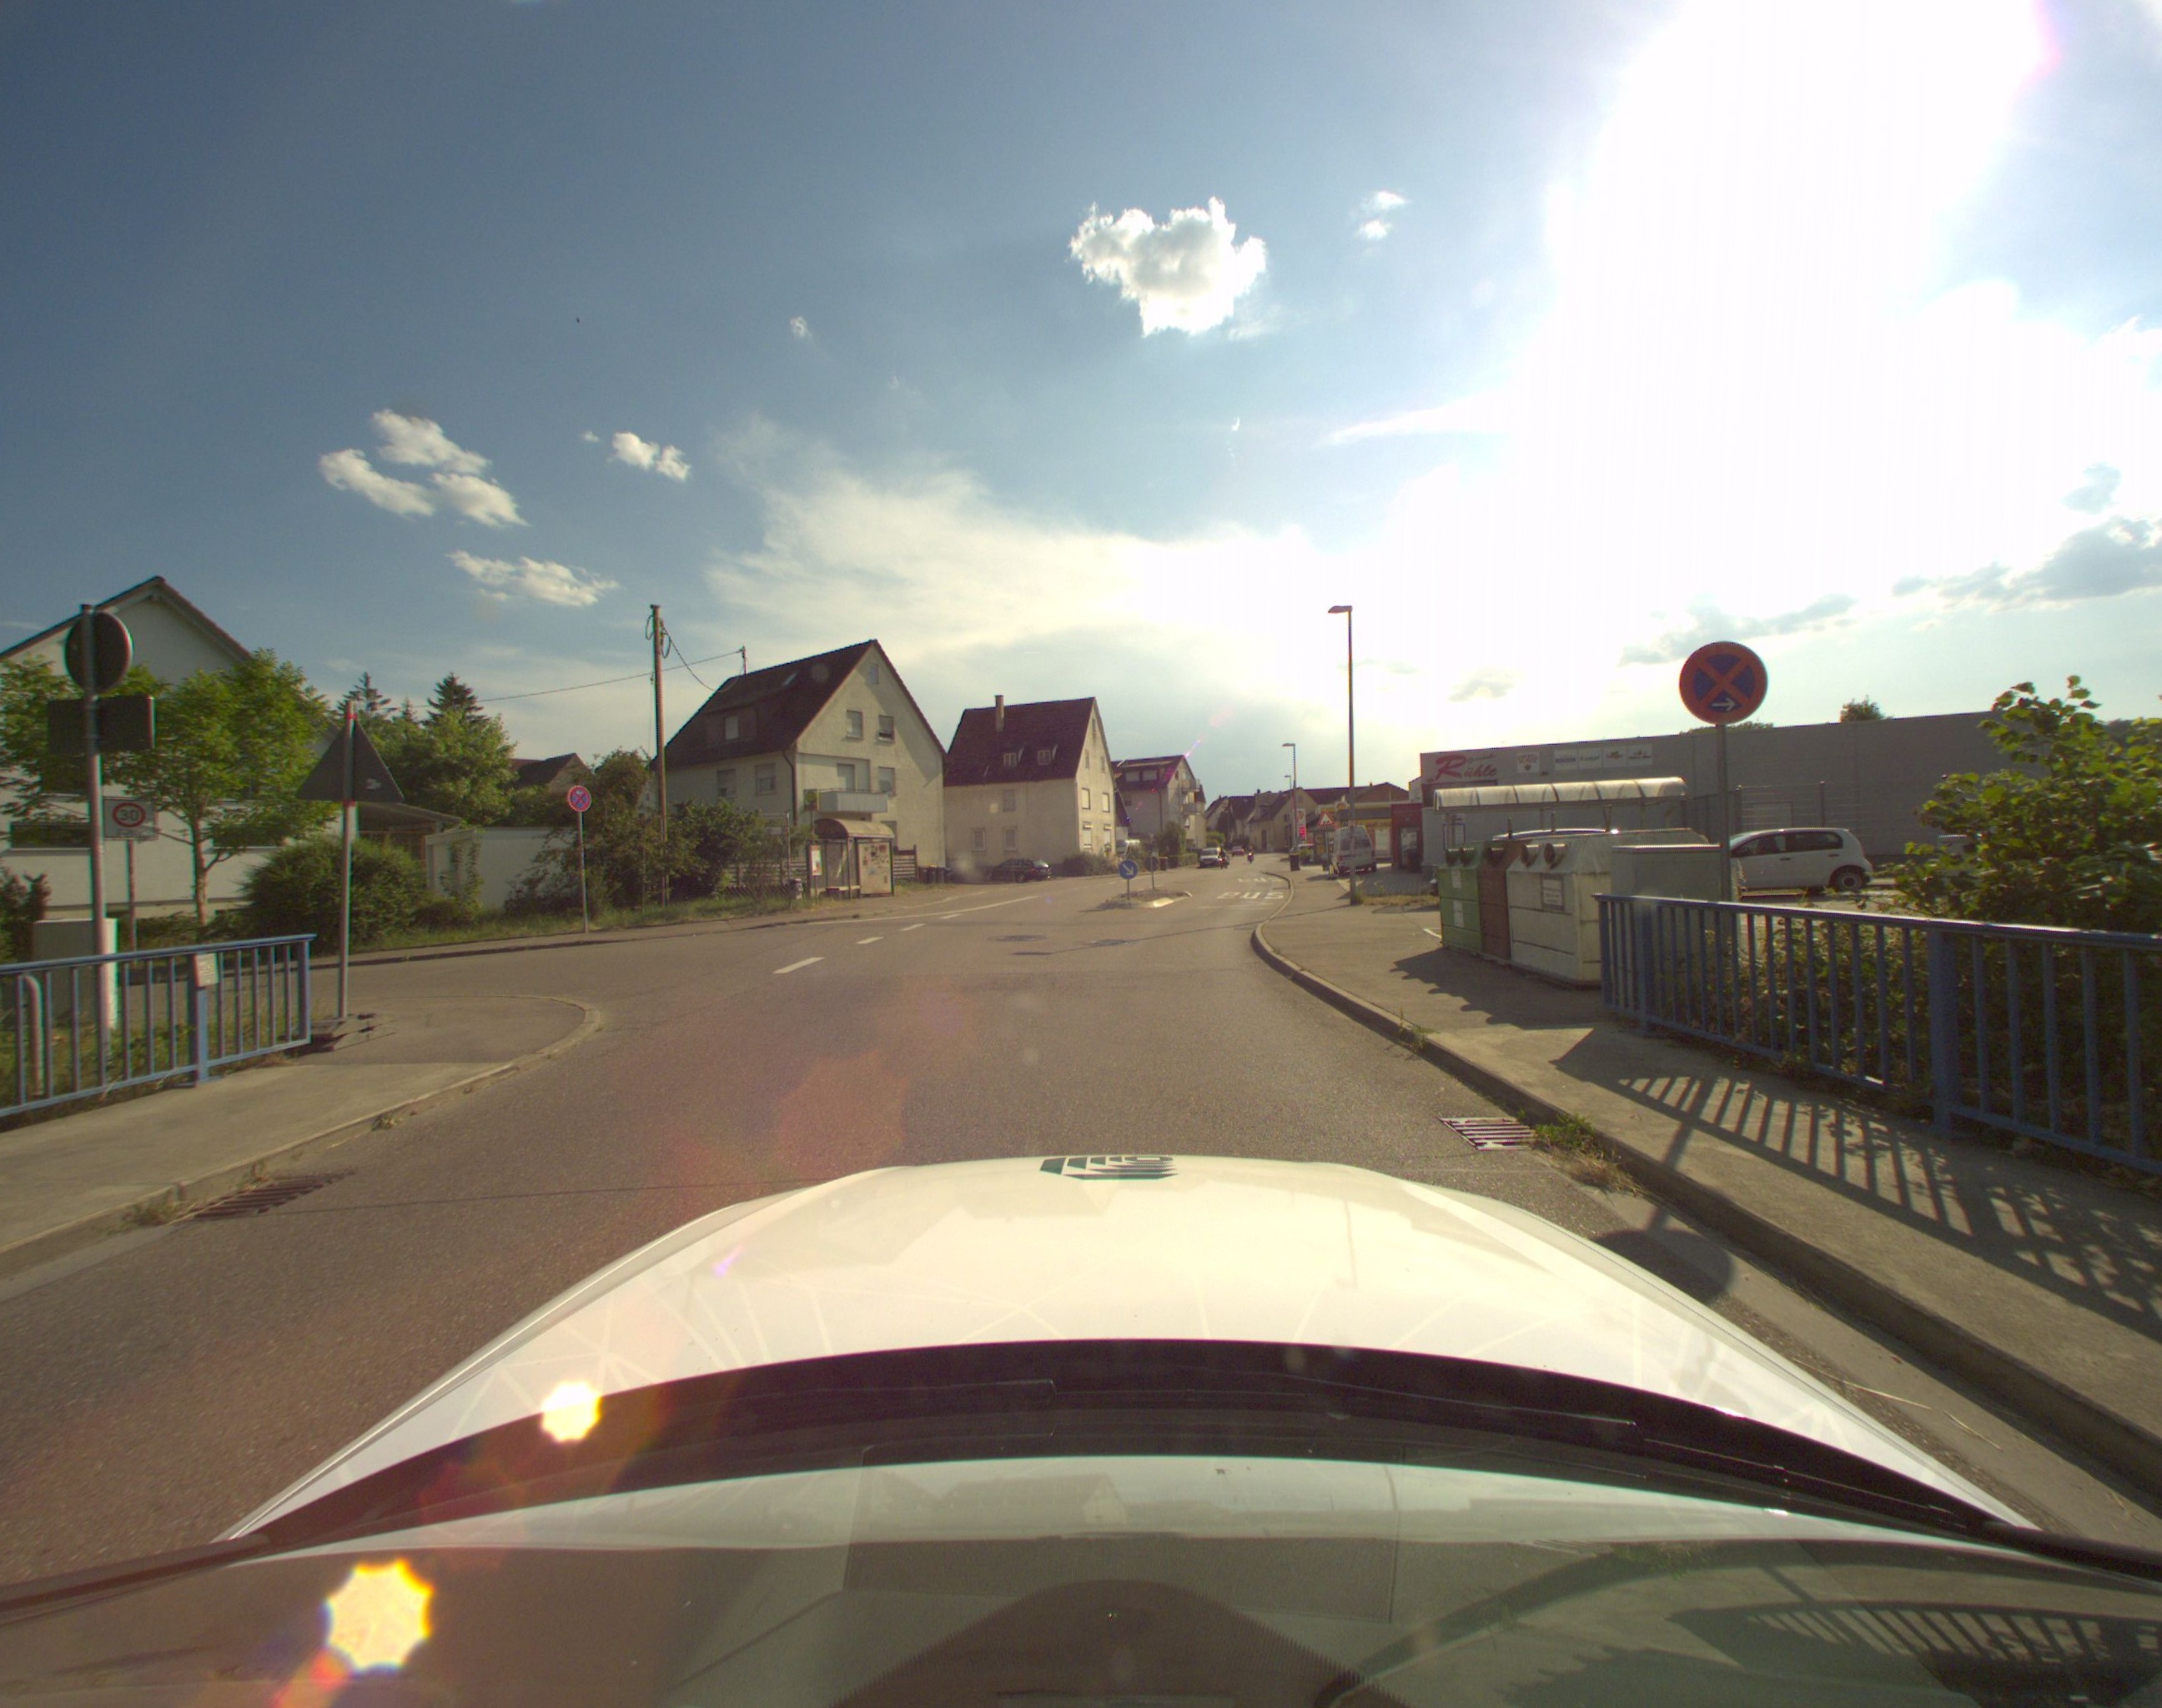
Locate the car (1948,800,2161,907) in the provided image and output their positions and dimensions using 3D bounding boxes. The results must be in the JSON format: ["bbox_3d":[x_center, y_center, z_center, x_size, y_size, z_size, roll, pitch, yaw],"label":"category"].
[{"bbox_3d":[15.745,-0.044,11.867,3.909,1.449,1.689,-2,-1,15],"label":"car"}]

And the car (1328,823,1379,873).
[{"bbox_3d":[14.253,-0.299,42.866,1.824,2.375,5.195,-3,0,12],"label":"car"}]

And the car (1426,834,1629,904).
[{"bbox_3d":[10.584,0.375,19.651,4.030,1.417,1.634,-4,-1,20],"label":"car"}]

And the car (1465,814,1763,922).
[{"bbox_3d":[8.915,0.266,13.998,3.909,1.603,1.689,-2,-1,15],"label":"car"}]

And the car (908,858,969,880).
[{"bbox_3d":[-9.268,0.962,52.798,3.948,1.361,1.697,0,1,38],"label":"car"}]

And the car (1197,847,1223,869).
[{"bbox_3d":[11.804,0.322,74.133,1.703,1.872,4.210,-3,0,16],"label":"car"}]

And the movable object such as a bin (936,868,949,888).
[{"bbox_3d":[-7.294,1.270,42.911,0.357,1.023,0.580,-2,-2,32],"label":"movable object such as a bin"}]

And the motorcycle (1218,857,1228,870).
[{"bbox_3d":[11.747,0.767,67.425,0.534,1.012,2.037,0,0,18],"label":"motorcycle"}]

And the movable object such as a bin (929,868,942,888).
[{"bbox_3d":[-7.564,1.230,42.348,0.357,1.041,0.561,-2,-2,32],"label":"movable object such as a bin"}]

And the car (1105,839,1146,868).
[{"bbox_3d":[4.303,-0.083,77.863,2.140,2.595,6.125,-1,1,20],"label":"car"}]

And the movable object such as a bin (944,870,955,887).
[{"bbox_3d":[-7.004,1.296,43.362,0.357,0.925,0.402,-2,-2,32],"label":"movable object such as a bin"}]

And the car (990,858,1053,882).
[{"bbox_3d":[-3.729,0.975,50.595,3.949,1.433,1.663,0,1,43],"label":"car"}]

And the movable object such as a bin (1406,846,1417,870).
[{"bbox_3d":[14.962,0.188,36.830,0.425,1.042,0.492,-2,0,23],"label":"movable object such as a bin"}]

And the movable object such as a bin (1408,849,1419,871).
[{"bbox_3d":[14.791,0.278,36.233,0.425,0.966,0.433,-2,0,23],"label":"movable object such as a bin"}]

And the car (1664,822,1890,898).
[{"bbox_3d":[15.128,0.156,17.907,3.408,1.417,1.506,-4,-1,20],"label":"car"}]

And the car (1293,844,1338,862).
[{"bbox_3d":[22.247,-0.102,77.304,3.957,1.608,2.008,-2,0,15],"label":"car"}]

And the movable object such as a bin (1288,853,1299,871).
[{"bbox_3d":[13.424,0.502,51.467,0.563,1.075,0.574,-3,0,11],"label":"movable object such as a bin"}]

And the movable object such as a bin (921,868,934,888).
[{"bbox_3d":[-7.870,1.256,41.879,0.357,1.016,0.561,-2,-2,32],"label":"movable object such as a bin"}]

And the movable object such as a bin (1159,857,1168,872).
[{"bbox_3d":[6.537,0.831,64.230,0.606,1.101,0.578,-1,-1,16],"label":"movable object such as a bin"}]

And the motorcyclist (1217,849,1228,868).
[{"bbox_3d":[11.723,0.370,67.353,0.730,1.527,1.021,1,0,18],"label":"motorcyclist"}]

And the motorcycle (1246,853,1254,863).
[{"bbox_3d":[16.954,0.431,81.638,0.520,1.012,2.037,0,0,18],"label":"motorcycle"}]

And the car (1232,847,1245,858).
[{"bbox_3d":[23.726,-0.211,122.950,1.699,1.435,3.789,-4,0,8],"label":"car"}]

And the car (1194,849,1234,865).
[{"bbox_3d":[14.753,0.361,90.420,3.951,1.538,1.773,3,2,26],"label":"car"}]

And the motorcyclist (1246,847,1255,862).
[{"bbox_3d":[16.997,0.070,81.616,0.796,1.436,1.041,-1,0,17],"label":"motorcyclist"}]

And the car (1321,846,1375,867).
[{"bbox_3d":[21.281,0.200,65.059,3.958,1.531,1.533,-2,0,14],"label":"car"}]
